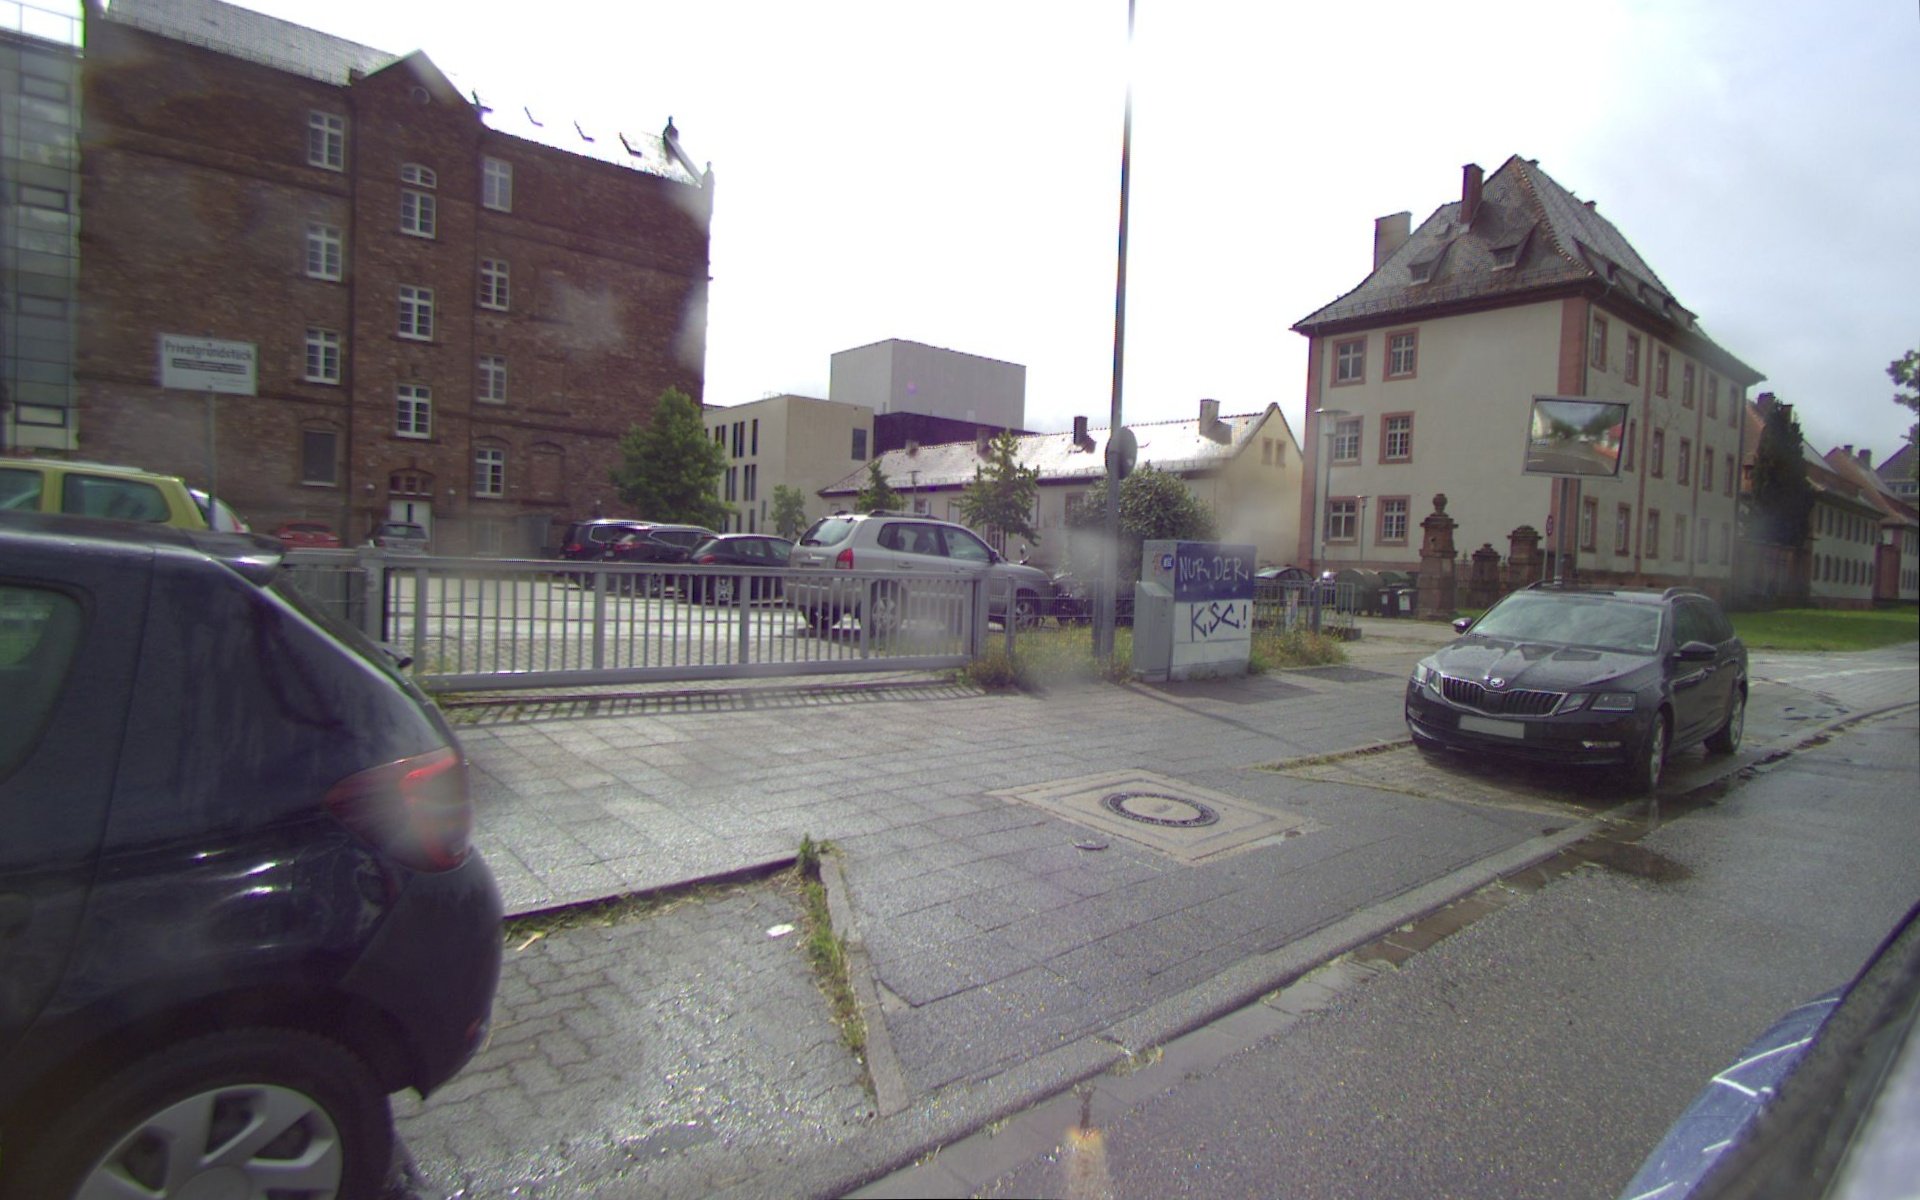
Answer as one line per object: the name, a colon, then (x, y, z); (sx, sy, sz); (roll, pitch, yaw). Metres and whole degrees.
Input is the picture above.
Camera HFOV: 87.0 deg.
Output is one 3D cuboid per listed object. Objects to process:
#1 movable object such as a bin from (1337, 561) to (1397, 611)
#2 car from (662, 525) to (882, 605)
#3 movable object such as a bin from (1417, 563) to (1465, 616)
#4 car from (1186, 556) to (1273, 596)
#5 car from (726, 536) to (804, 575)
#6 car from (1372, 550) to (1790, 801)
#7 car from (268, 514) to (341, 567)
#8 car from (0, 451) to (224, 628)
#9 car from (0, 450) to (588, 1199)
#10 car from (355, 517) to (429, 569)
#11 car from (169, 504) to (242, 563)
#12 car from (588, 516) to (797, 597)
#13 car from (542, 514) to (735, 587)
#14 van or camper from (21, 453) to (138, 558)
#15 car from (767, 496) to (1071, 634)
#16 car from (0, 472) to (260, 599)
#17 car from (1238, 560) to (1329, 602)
movable object such as a bin: (12.677, -0.434, 31.544); (1.365, 1.474, 1.109); (1, 4, -38)
car: (-4.051, -0.746, 22.074); (4.338, 1.545, 1.836); (0, 3, -35)
movable object such as a bin: (14.119, -0.299, 29.717); (1.077, 1.474, 0.802); (1, 4, -38)
car: (11.078, -0.957, 41.518); (3.509, 1.464, 1.600); (1, 4, -38)
car: (-10.391, -2.360, 54.074); (3.736, 2.032, 1.759); (-1, 2, -37)
car: (5.511, 0.467, 8.746); (4.301, 1.558, 1.779); (0, 5, -41)
car: (-20.442, -1.839, 31.496); (1.642, 1.504, 3.678); (0, 2, -37)
car: (-8.548, -0.552, 8.887); (3.353, 1.466, 1.616); (0, 3, -37)
car: (-2.828, 0.494, 1.445); (3.934, 1.546, 1.759); (-1, 4, -44)
car: (-18.717, -1.899, 33.284); (1.642, 1.543, 3.679); (0, 4, -37)
car: (-22.460, -1.983, 30.131); (1.642, 1.595, 3.679); (0, 4, -37)
car: (-6.208, -0.995, 23.635); (4.337, 1.699, 1.861); (1, 3, -34)
car: (-8.222, -1.254, 26.074); (4.341, 1.699, 1.859); (0, 3, -37)
van or camper: (-23.840, -2.450, 27.566); (2.218, 2.517, 4.797); (-1, 2, -39)
car: (-0.526, -0.501, 14.957); (4.159, 1.771, 1.810); (0, 3, -37)
car: (-11.383, -0.825, 13.196); (3.649, 1.504, 1.655); (0, 3, -37)
car: (12.538, -0.724, 39.169); (3.509, 1.464, 1.600); (1, 4, -38)
